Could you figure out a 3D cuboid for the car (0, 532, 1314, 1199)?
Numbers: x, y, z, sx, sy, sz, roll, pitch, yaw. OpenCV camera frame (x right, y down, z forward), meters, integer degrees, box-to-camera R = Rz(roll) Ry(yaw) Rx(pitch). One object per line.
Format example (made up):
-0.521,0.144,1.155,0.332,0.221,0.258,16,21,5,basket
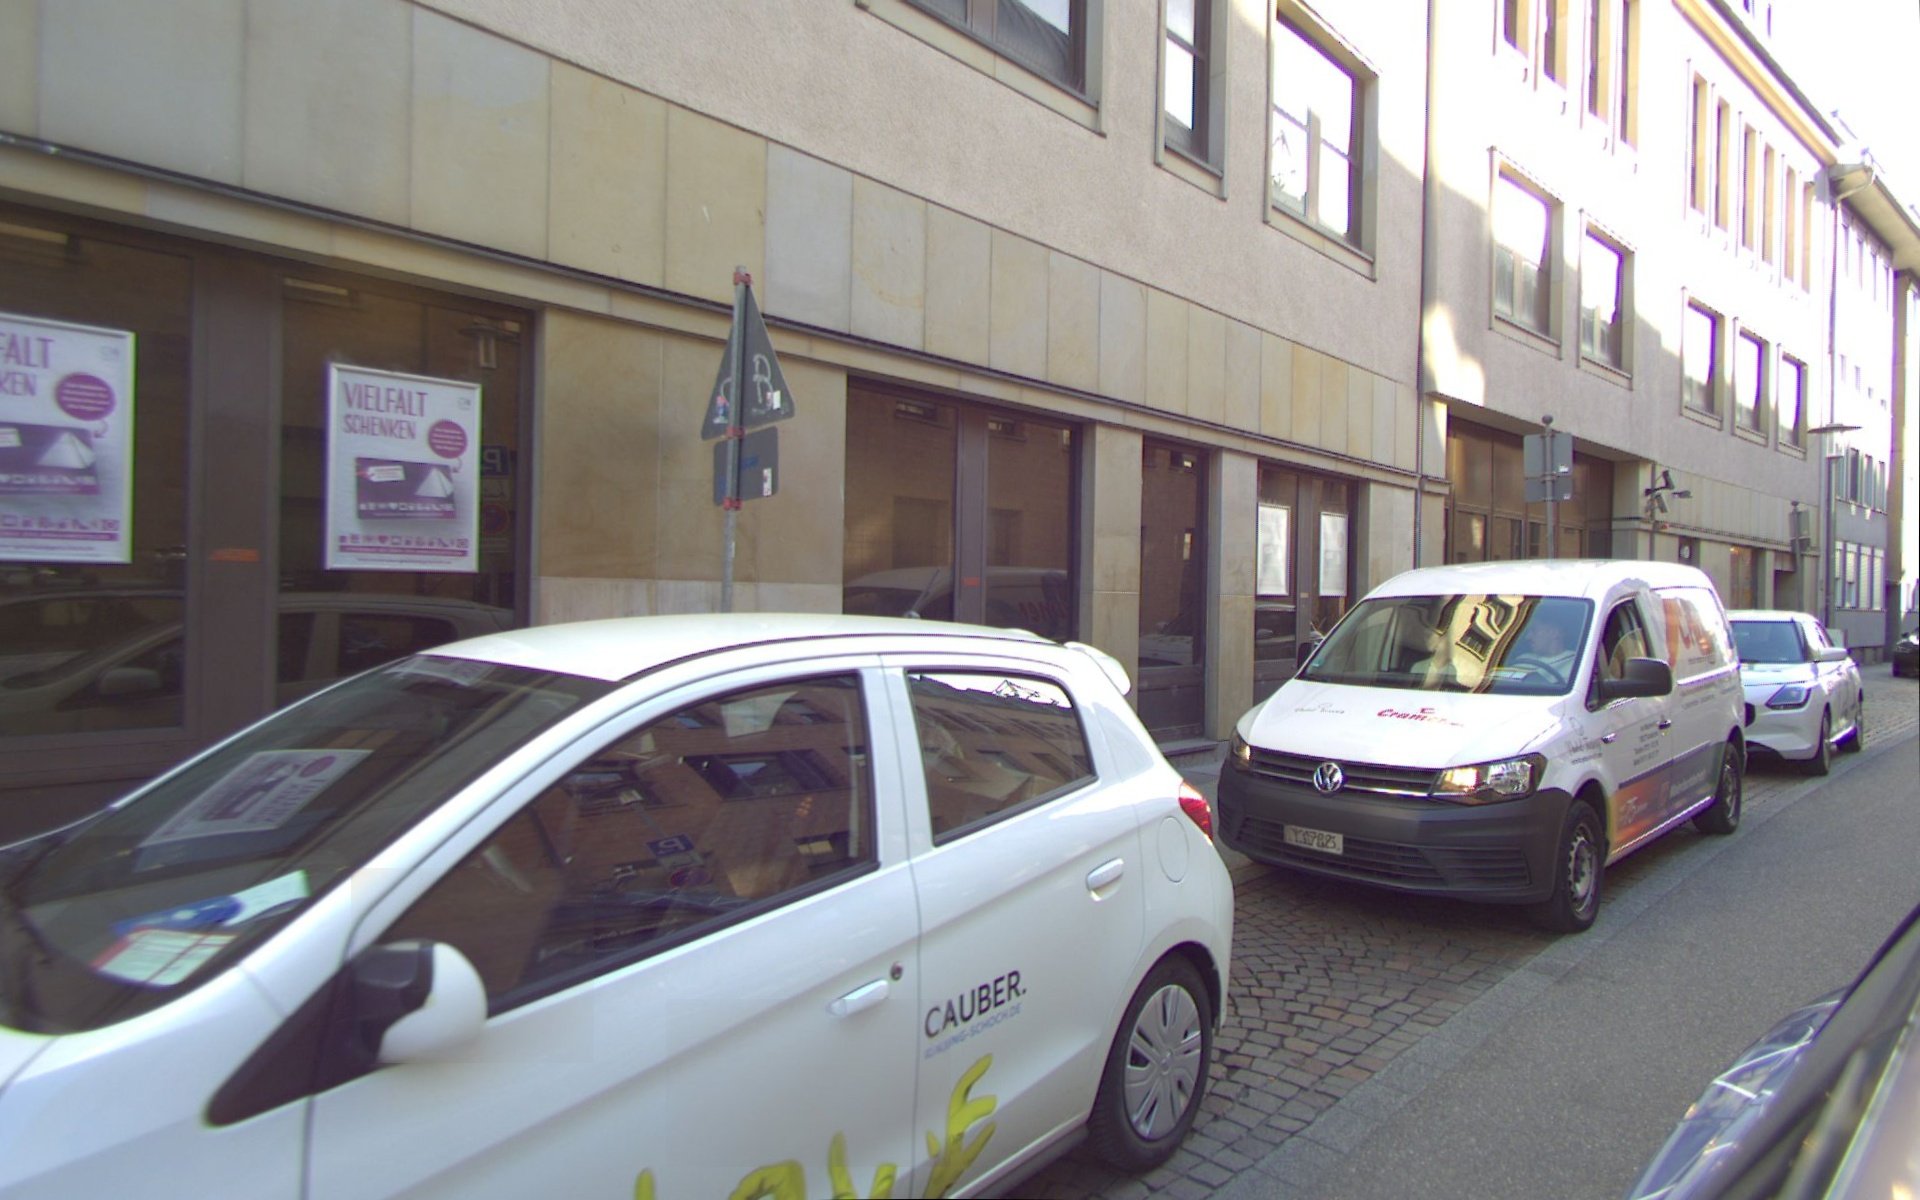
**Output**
-0.904,0.697,2.459,1.888,1.537,3.999,0,0,43,car

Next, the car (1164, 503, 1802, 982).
3.556,0.544,6.255,5.124,1.814,1.833,0,0,-42,car

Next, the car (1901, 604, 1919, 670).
23.984,0.844,23.806,5.129,1.472,1.898,1,-1,-38,car

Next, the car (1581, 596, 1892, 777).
8.121,0.749,10.446,4.096,1.497,1.842,1,-2,-42,car
